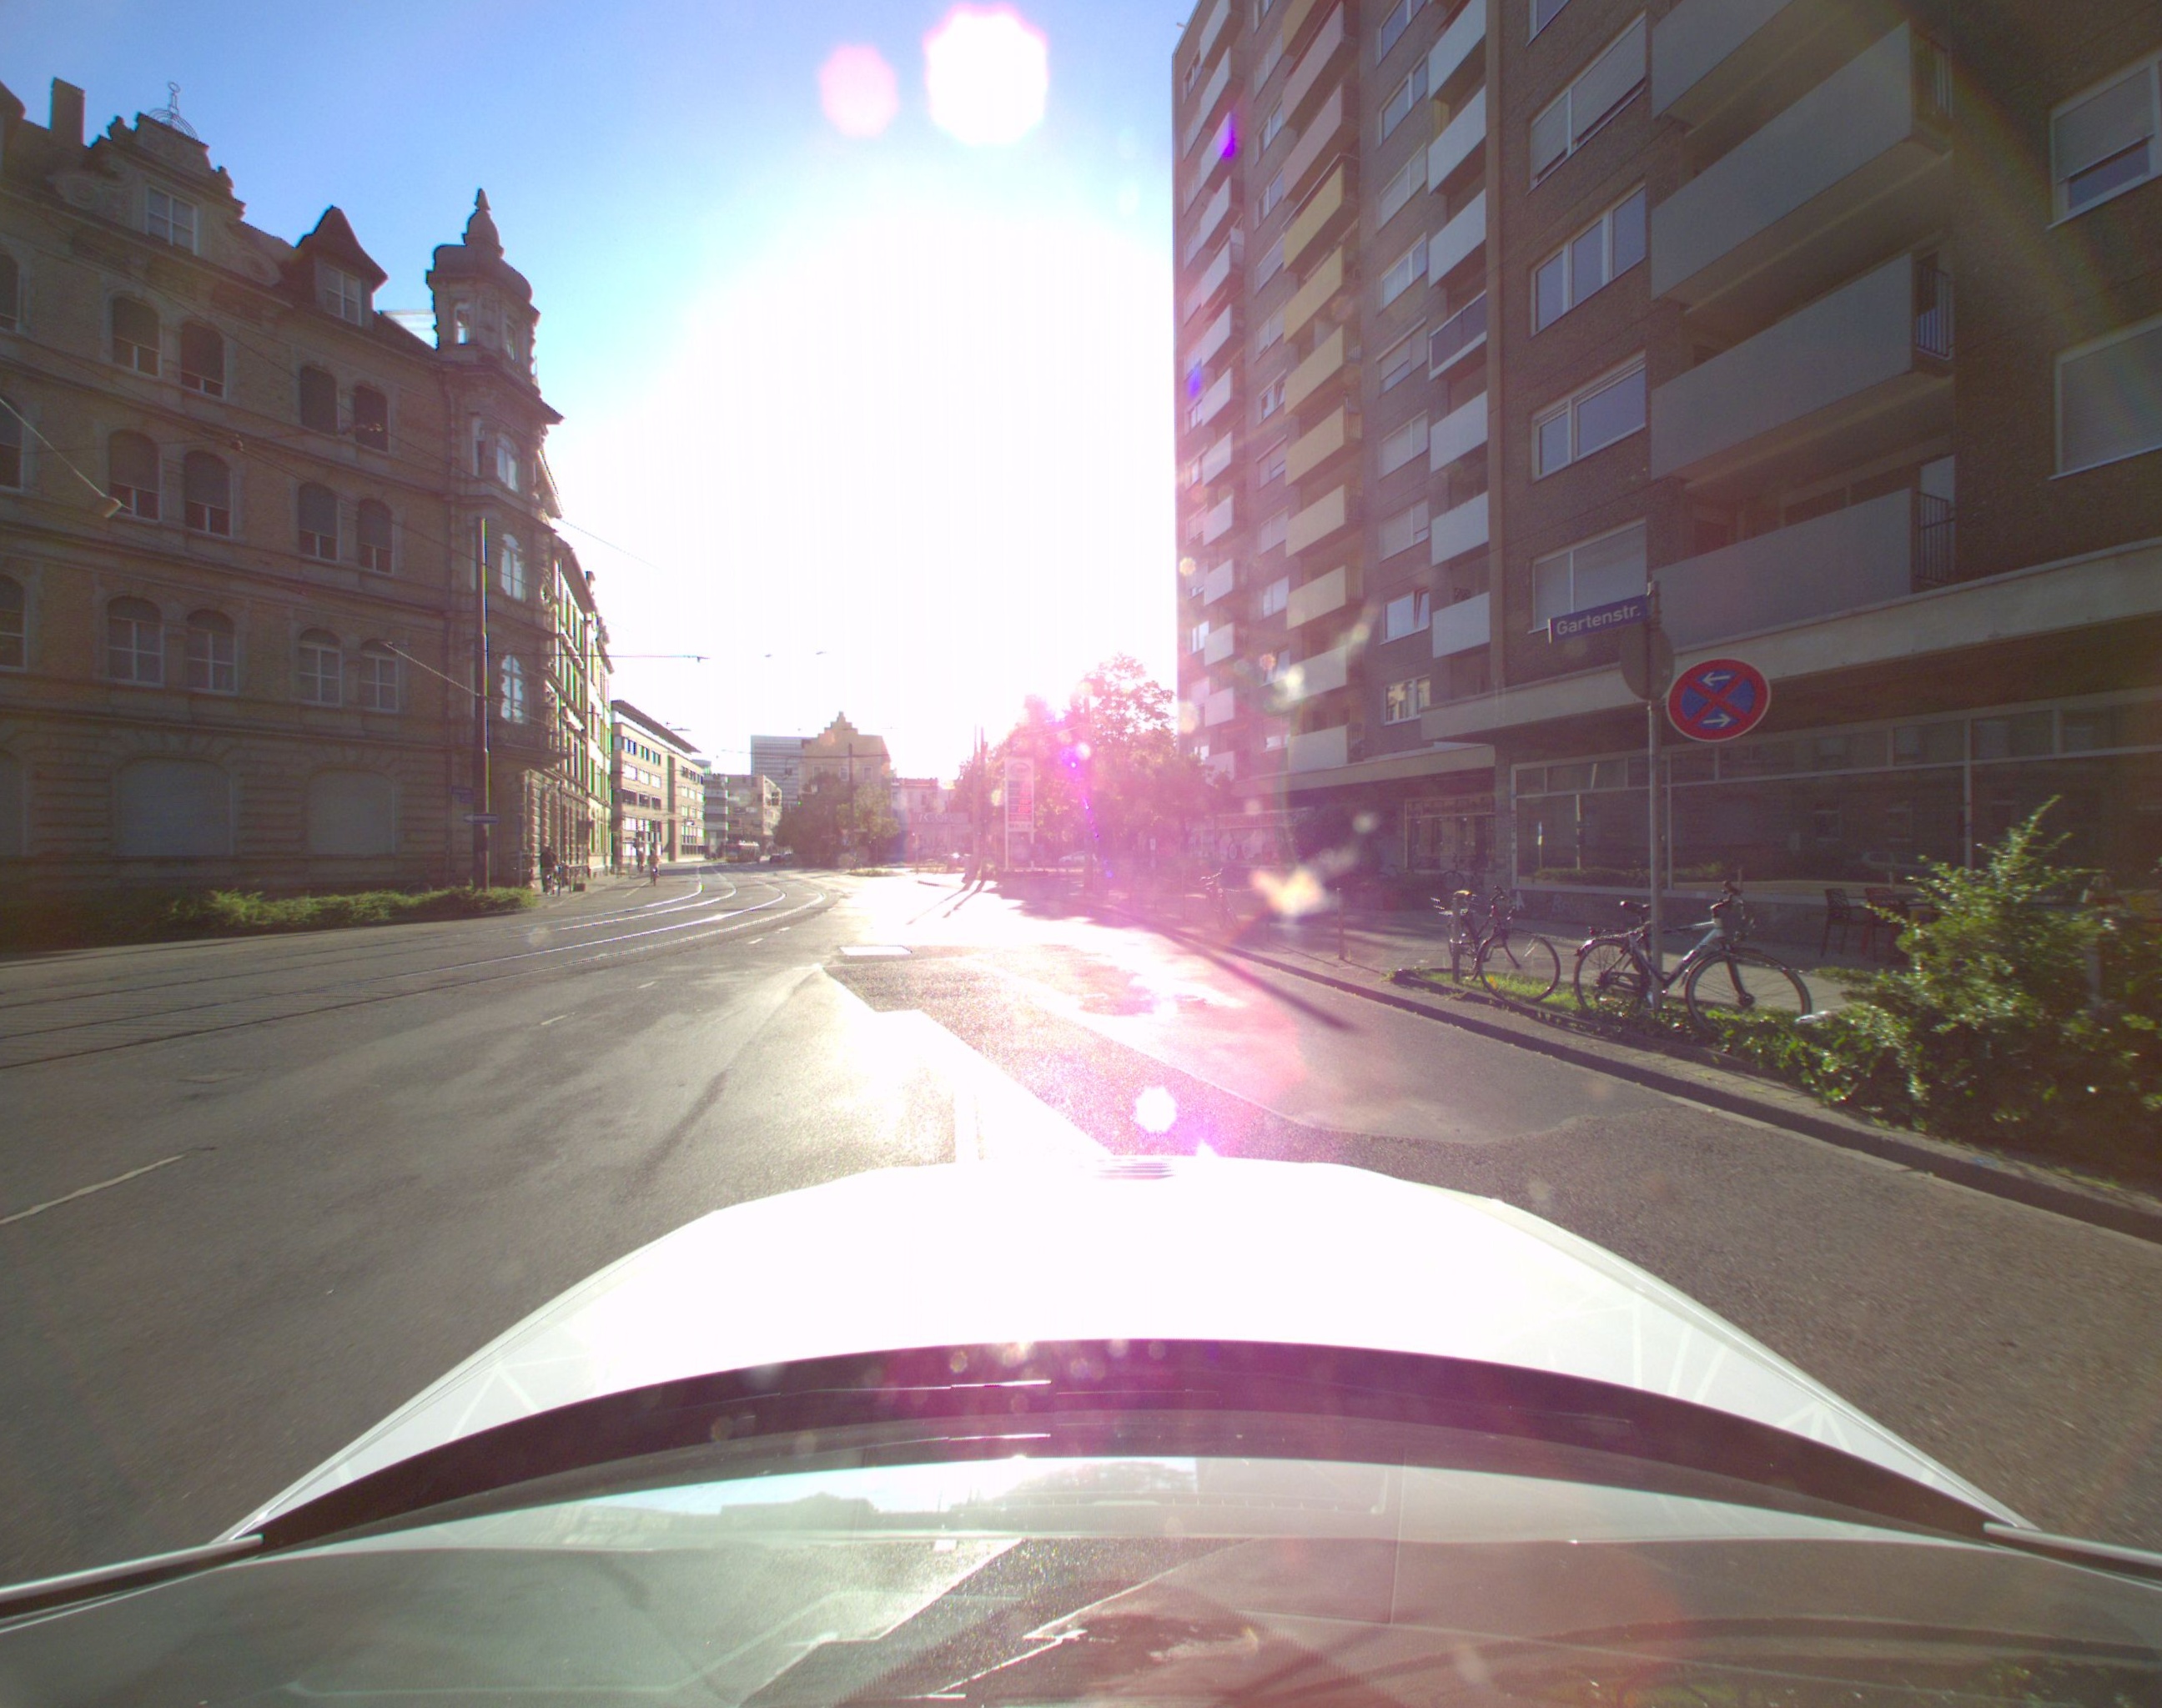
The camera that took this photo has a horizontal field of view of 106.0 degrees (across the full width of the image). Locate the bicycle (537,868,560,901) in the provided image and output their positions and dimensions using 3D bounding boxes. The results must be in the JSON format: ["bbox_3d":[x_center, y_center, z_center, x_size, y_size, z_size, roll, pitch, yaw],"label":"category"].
[{"bbox_3d":[-19.338,1.071,29.600,0.504,1.133,2.106,-1,0,-29],"label":"bicycle"}]

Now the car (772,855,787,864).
[{"bbox_3d":[-49.208,0.865,133.059,1.998,1.486,3.977,-1,0,-17],"label":"car"}]

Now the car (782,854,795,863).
[{"bbox_3d":[-53.097,0.777,147.707,1.998,1.486,3.977,-1,0,-17],"label":"car"}]

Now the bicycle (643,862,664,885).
[{"bbox_3d":[-22.255,1.017,42.407,0.886,1.156,2.305,0,0,-25],"label":"bicycle"}]

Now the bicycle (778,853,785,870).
[{"bbox_3d":[-33.532,0.824,91.136,0.568,1.806,1.346,-1,0,-27],"label":"bicycle"}]

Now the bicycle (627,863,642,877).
[{"bbox_3d":[-35.764,1.259,65.235,0.951,1.097,1.981,-1,0,-26],"label":"bicycle"}]

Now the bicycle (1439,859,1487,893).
[{"bbox_3d":[11.046,0.626,23.604,0.433,0.942,1.315,-1,0,-21],"label":"bicycle"}]

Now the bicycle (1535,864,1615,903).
[{"bbox_3d":[12.178,0.702,20.128,0.644,0.899,1.640,-1,0,-21],"label":"bicycle"}]

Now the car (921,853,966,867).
[{"bbox_3d":[-14.727,0.652,87.636,4.458,1.487,1.781,-1,0,2],"label":"car"}]

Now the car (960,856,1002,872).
[{"bbox_3d":[-9.783,0.953,79.738,3.977,1.453,1.808,-1,0,-3],"label":"car"}]

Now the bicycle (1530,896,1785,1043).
[{"bbox_3d":[4.452,0.837,6.457,0.543,0.904,1.728,-1,0,-12],"label":"bicycle"}]

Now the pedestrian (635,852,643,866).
[{"bbox_3d":[-60.671,0.676,111.869,0.807,1.842,0.732,-1,0,-15],"label":"pedestrian"}]

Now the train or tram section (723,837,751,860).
[{"bbox_3d":[-55.561,-0.782,131.727,2.246,3.574,14.201,-1,0,-15],"label":"train or tram section"}]

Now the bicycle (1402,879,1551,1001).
[{"bbox_3d":[3.955,0.801,8.347,0.635,1.022,2.090,-1,0,4],"label":"bicycle"}]

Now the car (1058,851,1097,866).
[{"bbox_3d":[-0.417,0.440,84.458,3.978,1.507,1.670,-1,0,-3],"label":"car"}]

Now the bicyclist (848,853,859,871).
[{"bbox_3d":[-18.453,0.651,65.960,0.806,1.413,0.620,-1,-1,-20],"label":"bicyclist"}]

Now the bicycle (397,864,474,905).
[{"bbox_3d":[-20.227,0.939,25.552,0.496,1.206,1.803,3,1,30],"label":"bicycle"}]

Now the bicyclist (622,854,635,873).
[{"bbox_3d":[-36.126,0.776,65.018,0.847,1.514,0.795,-1,0,-26],"label":"bicyclist"}]

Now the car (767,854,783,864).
[{"bbox_3d":[-46.147,0.732,123.034,1.998,1.464,3.977,-1,0,-17],"label":"car"}]

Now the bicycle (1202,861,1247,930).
[{"bbox_3d":[2.753,0.763,15.820,0.635,1.226,2.090,-1,0,4],"label":"bicycle"}]

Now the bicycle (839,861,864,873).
[{"bbox_3d":[-18.582,1.037,65.916,1.839,0.984,0.729,-1,0,-21],"label":"bicycle"}]

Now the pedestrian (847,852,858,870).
[{"bbox_3d":[-22.038,0.640,78.536,0.928,1.692,0.773,0,0,-17],"label":"pedestrian"}]

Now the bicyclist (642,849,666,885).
[{"bbox_3d":[-22.328,0.674,42.605,1.034,1.891,1.103,0,-1,-26],"label":"bicyclist"}]

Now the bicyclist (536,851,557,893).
[{"bbox_3d":[-19.454,0.650,29.643,0.596,1.491,0.695,-1,0,-32],"label":"bicyclist"}]
